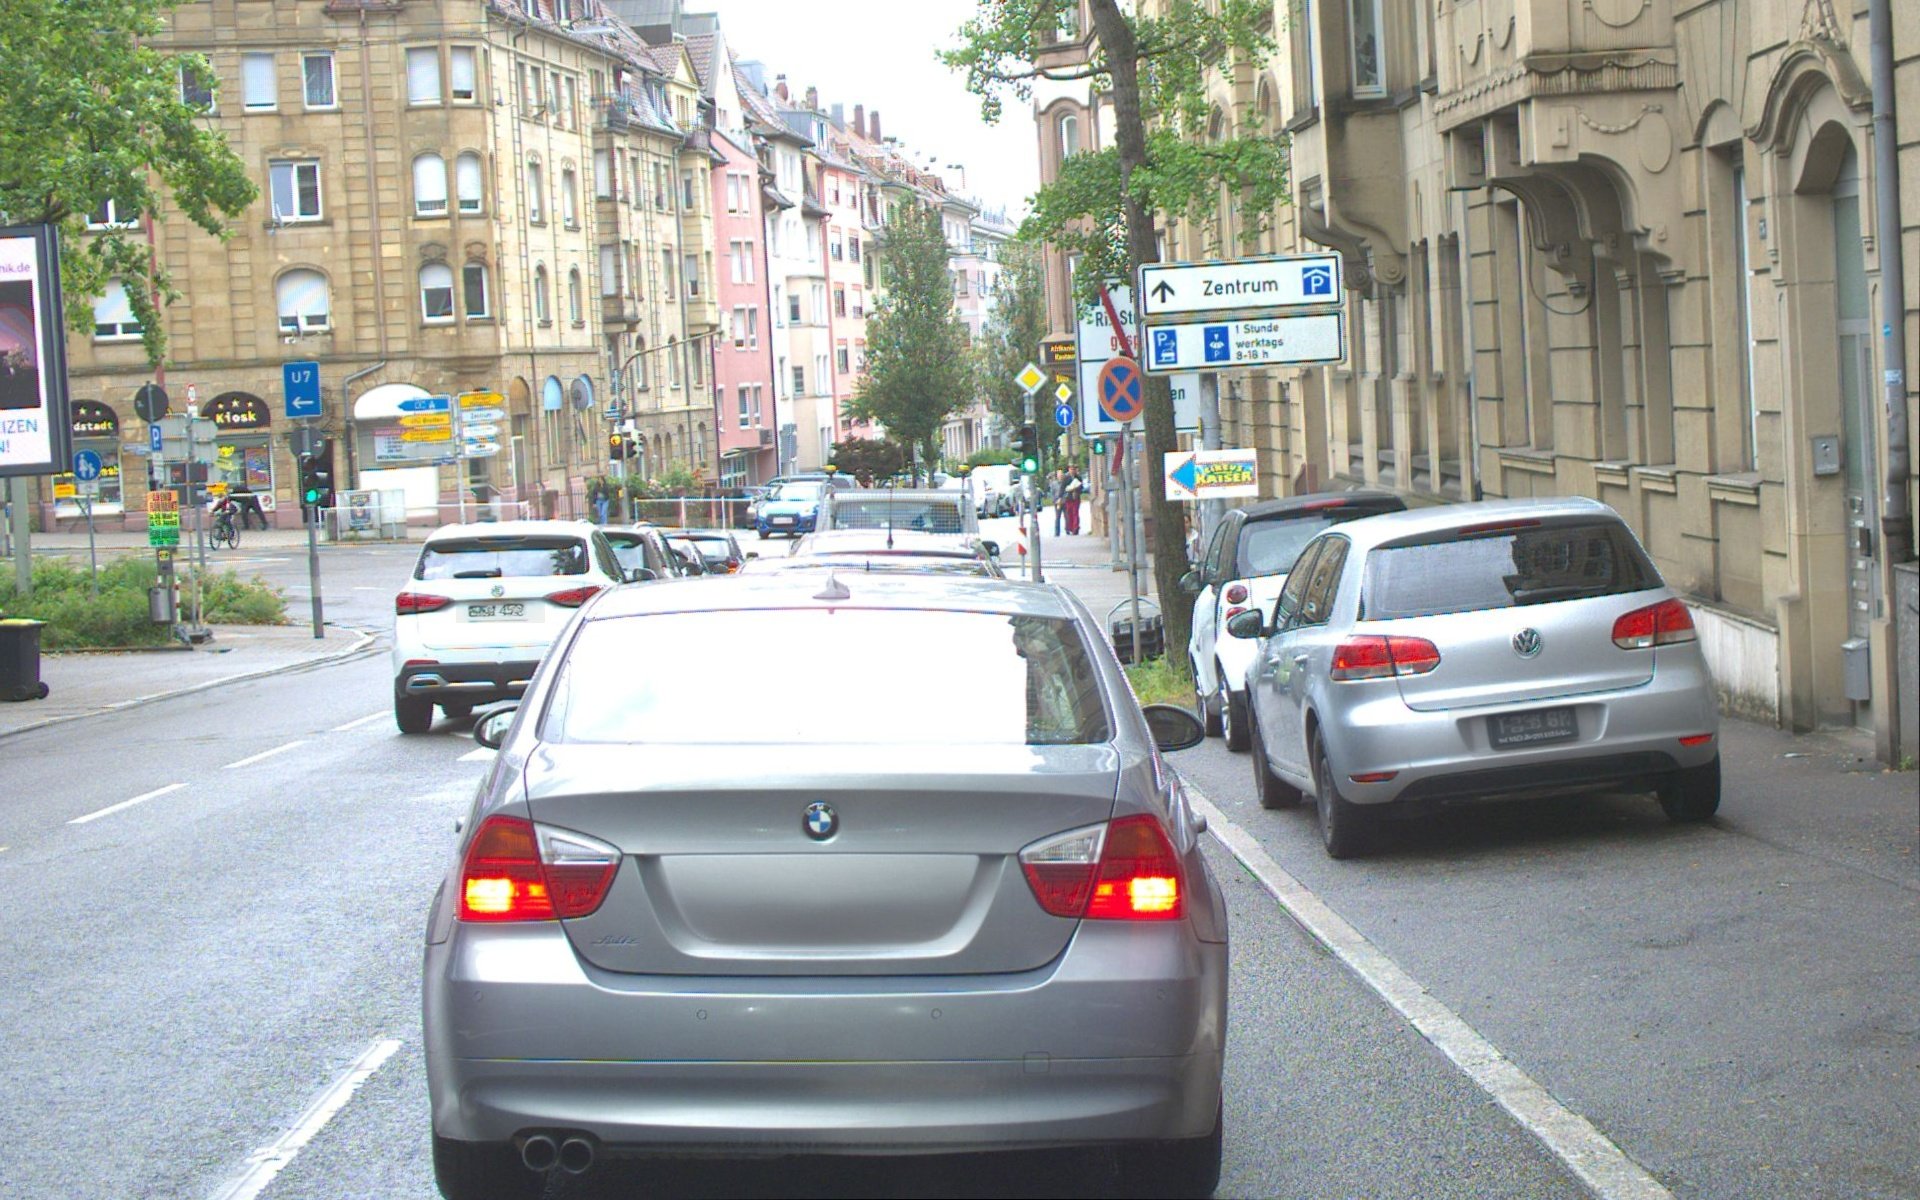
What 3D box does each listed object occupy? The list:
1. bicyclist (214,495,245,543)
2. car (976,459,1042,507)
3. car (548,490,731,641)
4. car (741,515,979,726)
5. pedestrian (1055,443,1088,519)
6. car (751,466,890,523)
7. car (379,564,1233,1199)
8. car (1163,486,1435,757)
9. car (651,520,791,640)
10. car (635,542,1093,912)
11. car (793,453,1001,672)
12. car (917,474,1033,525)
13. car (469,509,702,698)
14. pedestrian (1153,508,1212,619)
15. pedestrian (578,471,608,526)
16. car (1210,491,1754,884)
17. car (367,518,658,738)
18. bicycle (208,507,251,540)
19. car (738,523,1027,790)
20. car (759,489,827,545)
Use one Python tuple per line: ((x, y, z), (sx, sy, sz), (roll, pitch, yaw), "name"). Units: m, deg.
((-19.668, -2.177, 92.573), (0.569, 1.268, 0.689), (1, 0, 12), "bicyclist")
((1.726, -4.097, 120.523), (1.994, 1.573, 3.999), (1, 1, 5), "car")
((-3.800, -0.449, 41.313), (1.759, 1.702, 4.000), (-1, 1, 1), "car")
((-0.745, 0.107, 27.936), (1.759, 1.562, 4.000), (-1, 1, 1), "car")
((2.856, -3.048, 88.041), (0.742, 1.903, 0.659), (-2, 1, -1), "pedestrian")
((-5.259, -3.989, 130.132), (5.176, 2.007, 2.699), (1, 1, -1), "car")
((-0.276, 0.639, 8.408), (1.623, 1.378, 3.615), (-1, 1, 1), "car")
((2.177, 0.100, 22.653), (1.299, 1.537, 2.976), (-6, 1, -1), "car")
((-3.552, -0.338, 51.598), (1.759, 1.702, 4.000), (-1, 1, 1), "car")
((-0.353, 0.461, 15.336), (1.759, 1.378, 4.000), (-1, 1, 1), "car")
((-0.634, -0.396, 35.156), (1.993, 2.099, 4.000), (0, 1, -1), "car")
((0.517, -3.280, 112.858), (1.997, 1.573, 3.993), (1, 1, 32), "car")
((-3.567, -0.020, 33.380), (1.759, 1.702, 4.000), (-1, 1, 1), "car")
((3.176, -0.525, 49.066), (0.631, 1.503, 0.693), (-6, 1, -1), "pedestrian")
((-10.786, -2.981, 100.982), (0.732, 1.572, 0.528), (-2, 1, 8), "pedestrian")
((2.311, 0.318, 16.239), (1.759, 1.446, 4.000), (-6, 1, -1), "car")
((-3.519, 0.165, 27.698), (1.868, 1.620, 4.000), (-1, 1, -1), "car")
((-19.673, -2.067, 92.600), (0.573, 0.855, 1.521), (1, 1, 11), "bicycle")
((-0.408, 0.267, 21.012), (1.595, 1.459, 4.000), (0, 1, 1), "car")
((-4.579, -2.268, 94.456), (1.715, 1.445, 3.743), (-2, 1, -1), "car")
